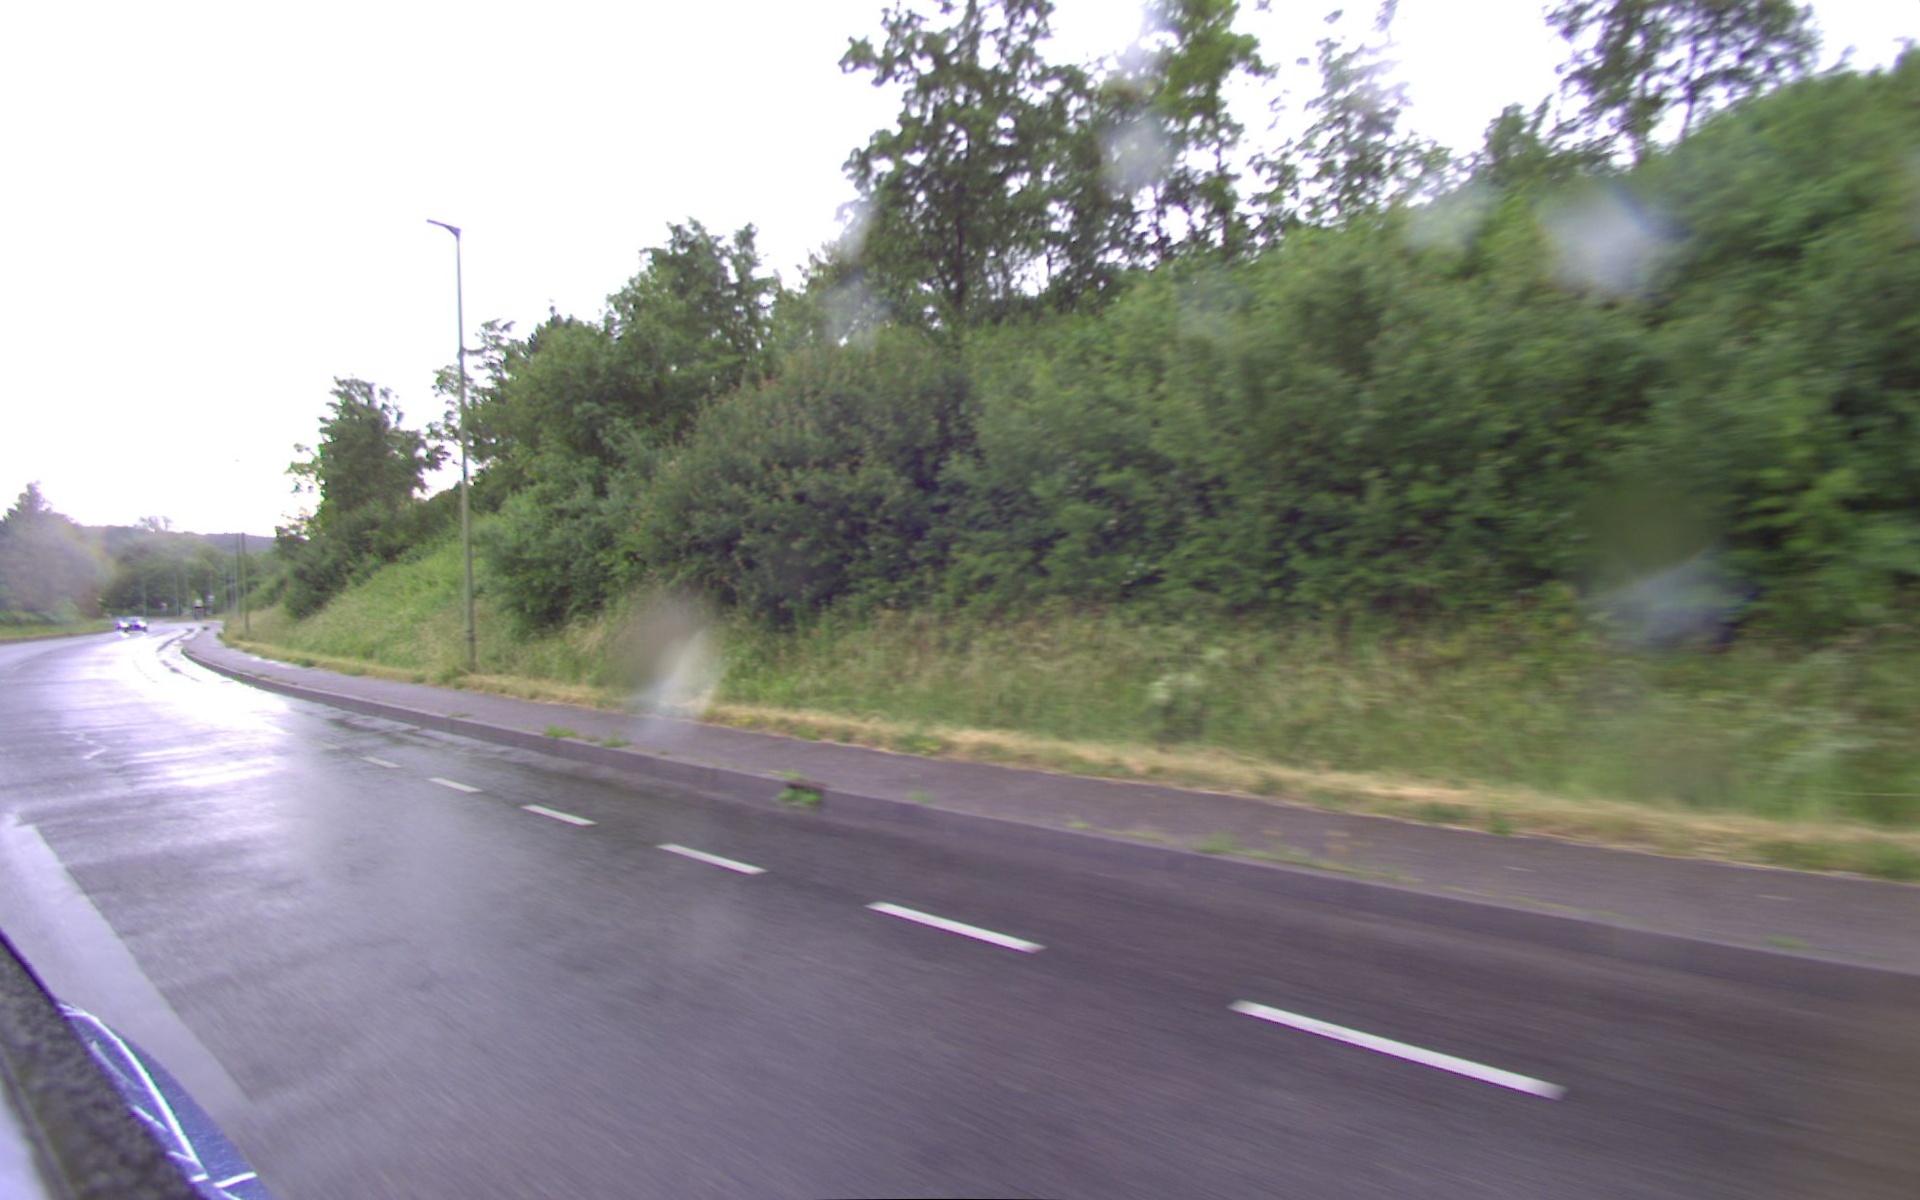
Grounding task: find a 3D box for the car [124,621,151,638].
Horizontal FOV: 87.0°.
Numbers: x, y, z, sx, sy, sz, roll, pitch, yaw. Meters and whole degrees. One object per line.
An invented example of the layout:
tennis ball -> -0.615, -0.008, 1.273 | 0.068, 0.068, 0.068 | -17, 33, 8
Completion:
car -> -80.528, 2.853, 99.167 | 1.850, 1.618, 4.009 | 1, -2, -36
